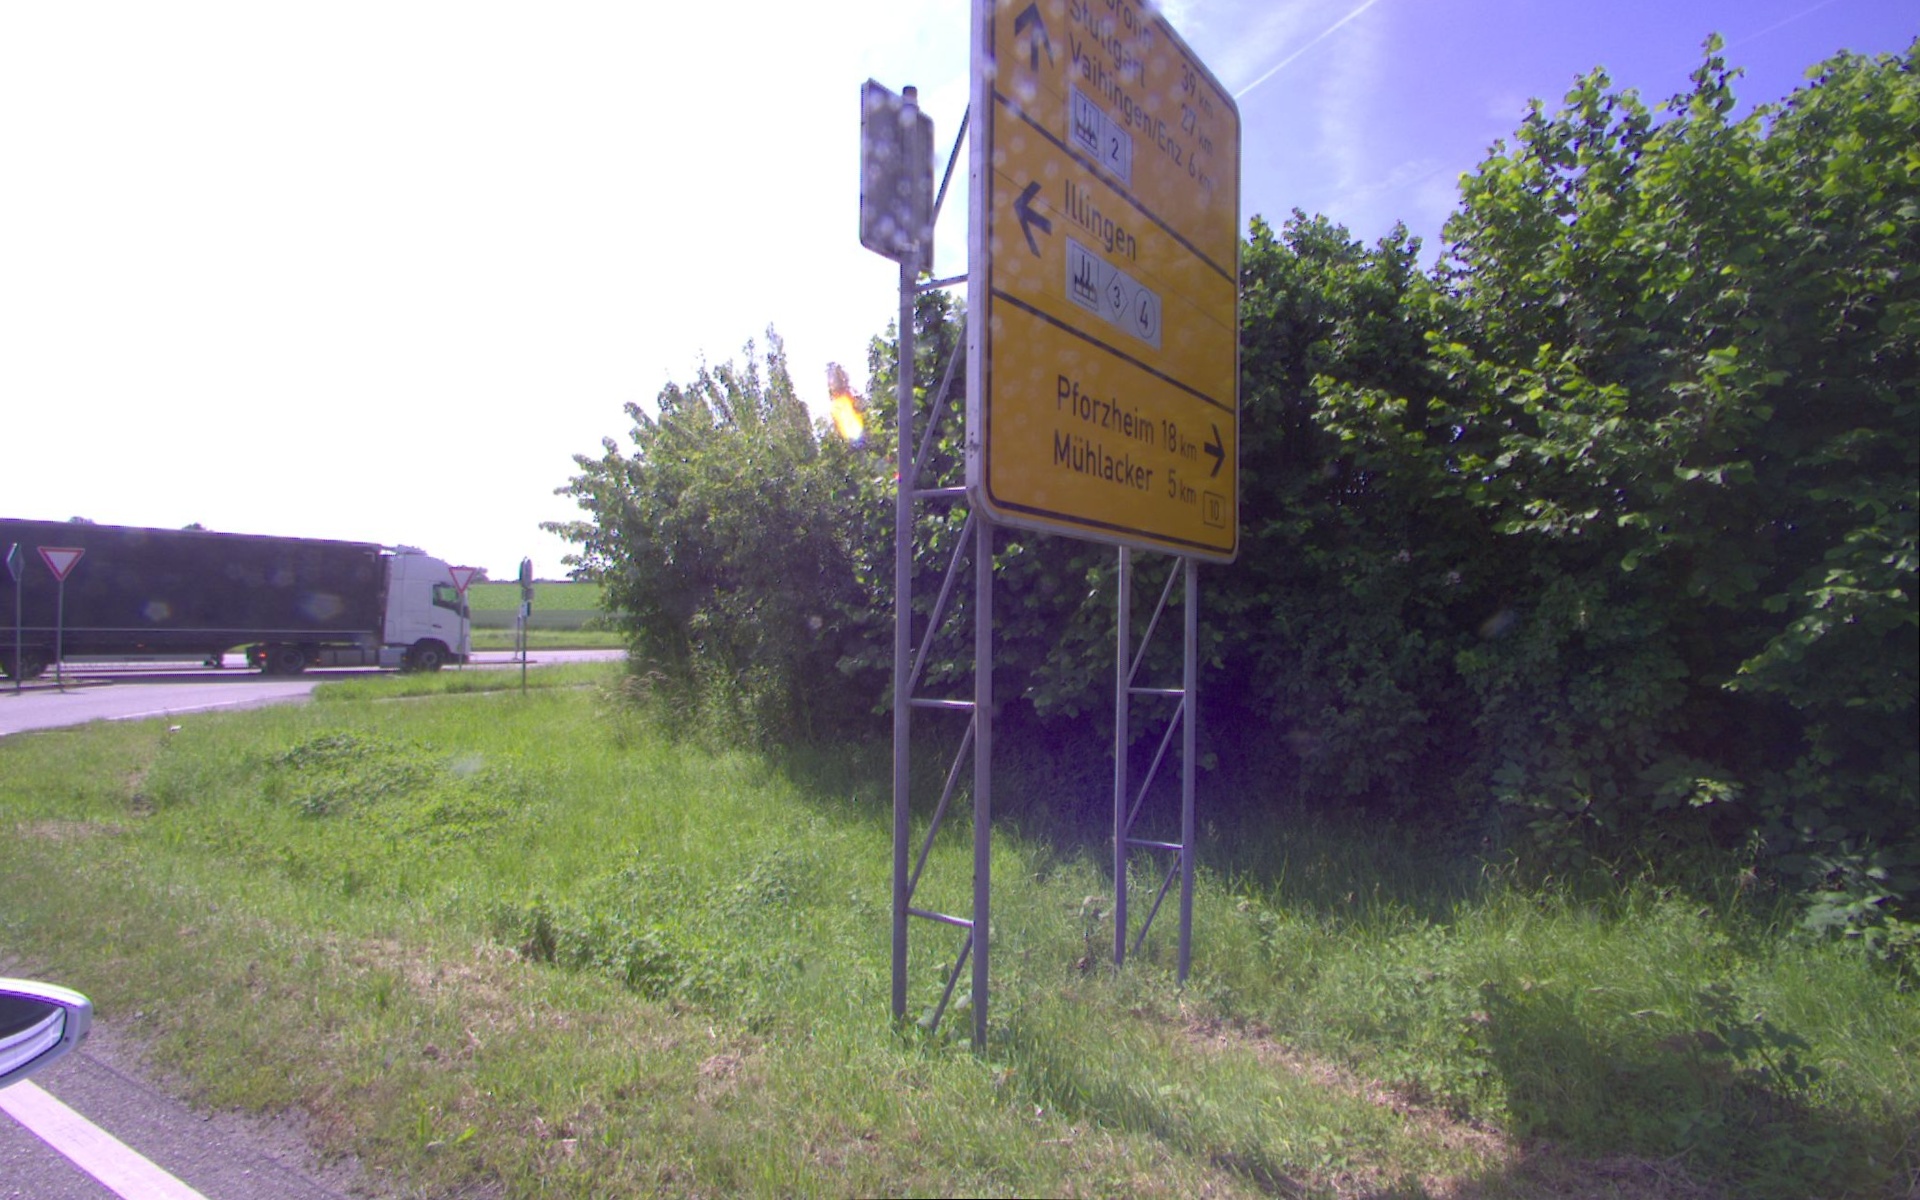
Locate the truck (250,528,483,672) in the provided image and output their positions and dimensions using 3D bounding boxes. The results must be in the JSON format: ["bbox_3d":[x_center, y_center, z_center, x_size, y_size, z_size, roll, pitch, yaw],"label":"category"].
[{"bbox_3d":[-18.724,0.082,31.846,2.766,4.114,5.799,1,-1,41],"label":"truck"}]

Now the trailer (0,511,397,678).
[{"bbox_3d":[-23.218,-0.072,27.142,2.769,4.114,13.603,1,-1,45],"label":"trailer"}]

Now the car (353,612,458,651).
[{"bbox_3d":[-24.649,1.423,44.565,3.950,1.616,1.654,2,-3,-35],"label":"car"}]
